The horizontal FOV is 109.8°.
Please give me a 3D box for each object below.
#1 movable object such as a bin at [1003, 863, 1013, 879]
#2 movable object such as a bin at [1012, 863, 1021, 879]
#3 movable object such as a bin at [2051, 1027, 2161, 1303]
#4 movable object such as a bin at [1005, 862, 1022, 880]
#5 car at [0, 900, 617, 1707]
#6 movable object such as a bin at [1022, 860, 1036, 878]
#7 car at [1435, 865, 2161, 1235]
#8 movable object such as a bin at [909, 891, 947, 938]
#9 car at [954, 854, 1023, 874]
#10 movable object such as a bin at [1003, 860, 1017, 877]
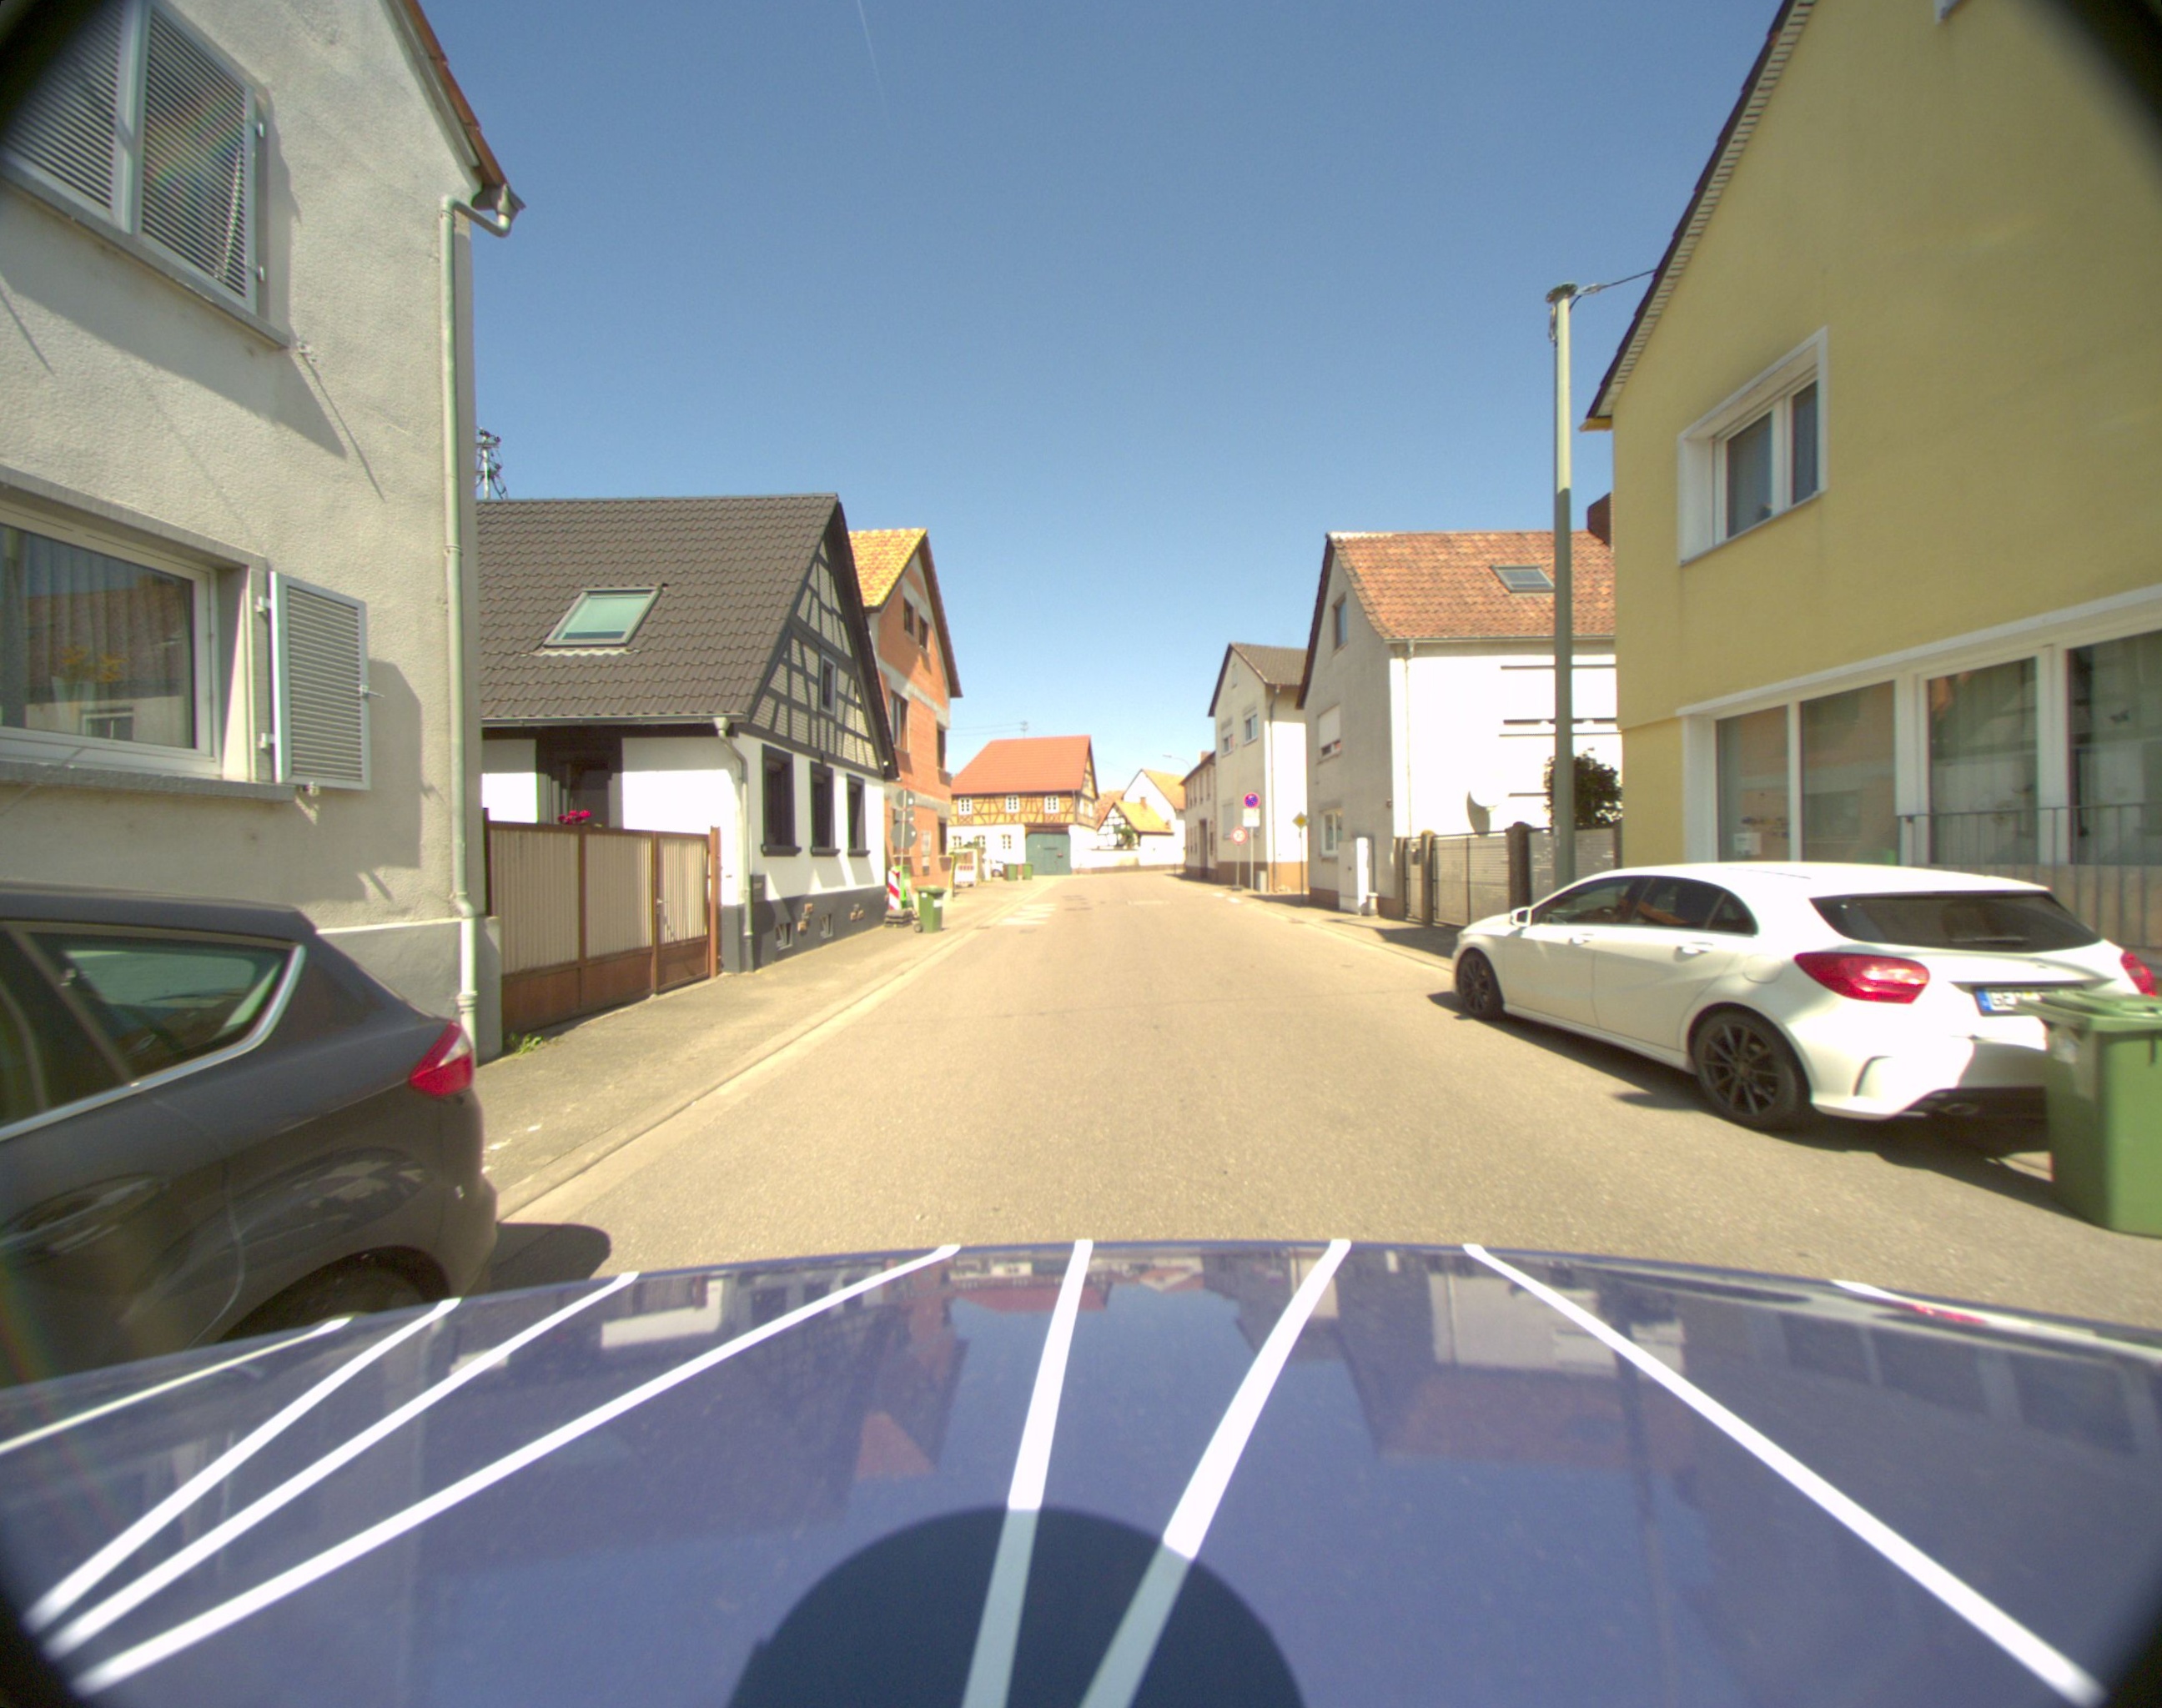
[{"bbox_3d":[-4.378,1.032,45.823,0.465,0.965,0.496,-1,0,9],"label":"movable object such as a bin"},{"bbox_3d":[-3.881,1.042,45.854,0.445,0.944,0.463,-1,1,10],"label":"movable object such as a bin"},{"bbox_3d":[4.187,1.173,2.885,0.425,0.899,0.497,-1,1,20],"label":"movable object such as a bin"},{"bbox_3d":[-3.964,0.983,44.582,0.763,1.066,0.671,-1,0,-31],"label":"movable object such as a bin"},{"bbox_3d":[-2.667,0.966,0.419,1.802,1.551,4.631,-1,0,2],"label":"car"},{"bbox_3d":[-3.186,0.939,46.697,0.688,1.086,0.638,-1,0,10],"label":"movable object such as a bin"},{"bbox_3d":[4.435,0.850,5.316,1.839,1.455,4.270,0,0,-1],"label":"car"},{"bbox_3d":[-3.097,1.210,15.384,0.538,0.908,0.552,-1,1,19],"label":"movable object such as a bin"},{"bbox_3d":[-7.007,0.761,57.742,4.759,1.443,2.002,-1,0,13],"label":"car"},{"bbox_3d":[-4.561,0.946,48.930,0.721,1.075,0.755,-1,0,6],"label":"movable object such as a bin"}]
